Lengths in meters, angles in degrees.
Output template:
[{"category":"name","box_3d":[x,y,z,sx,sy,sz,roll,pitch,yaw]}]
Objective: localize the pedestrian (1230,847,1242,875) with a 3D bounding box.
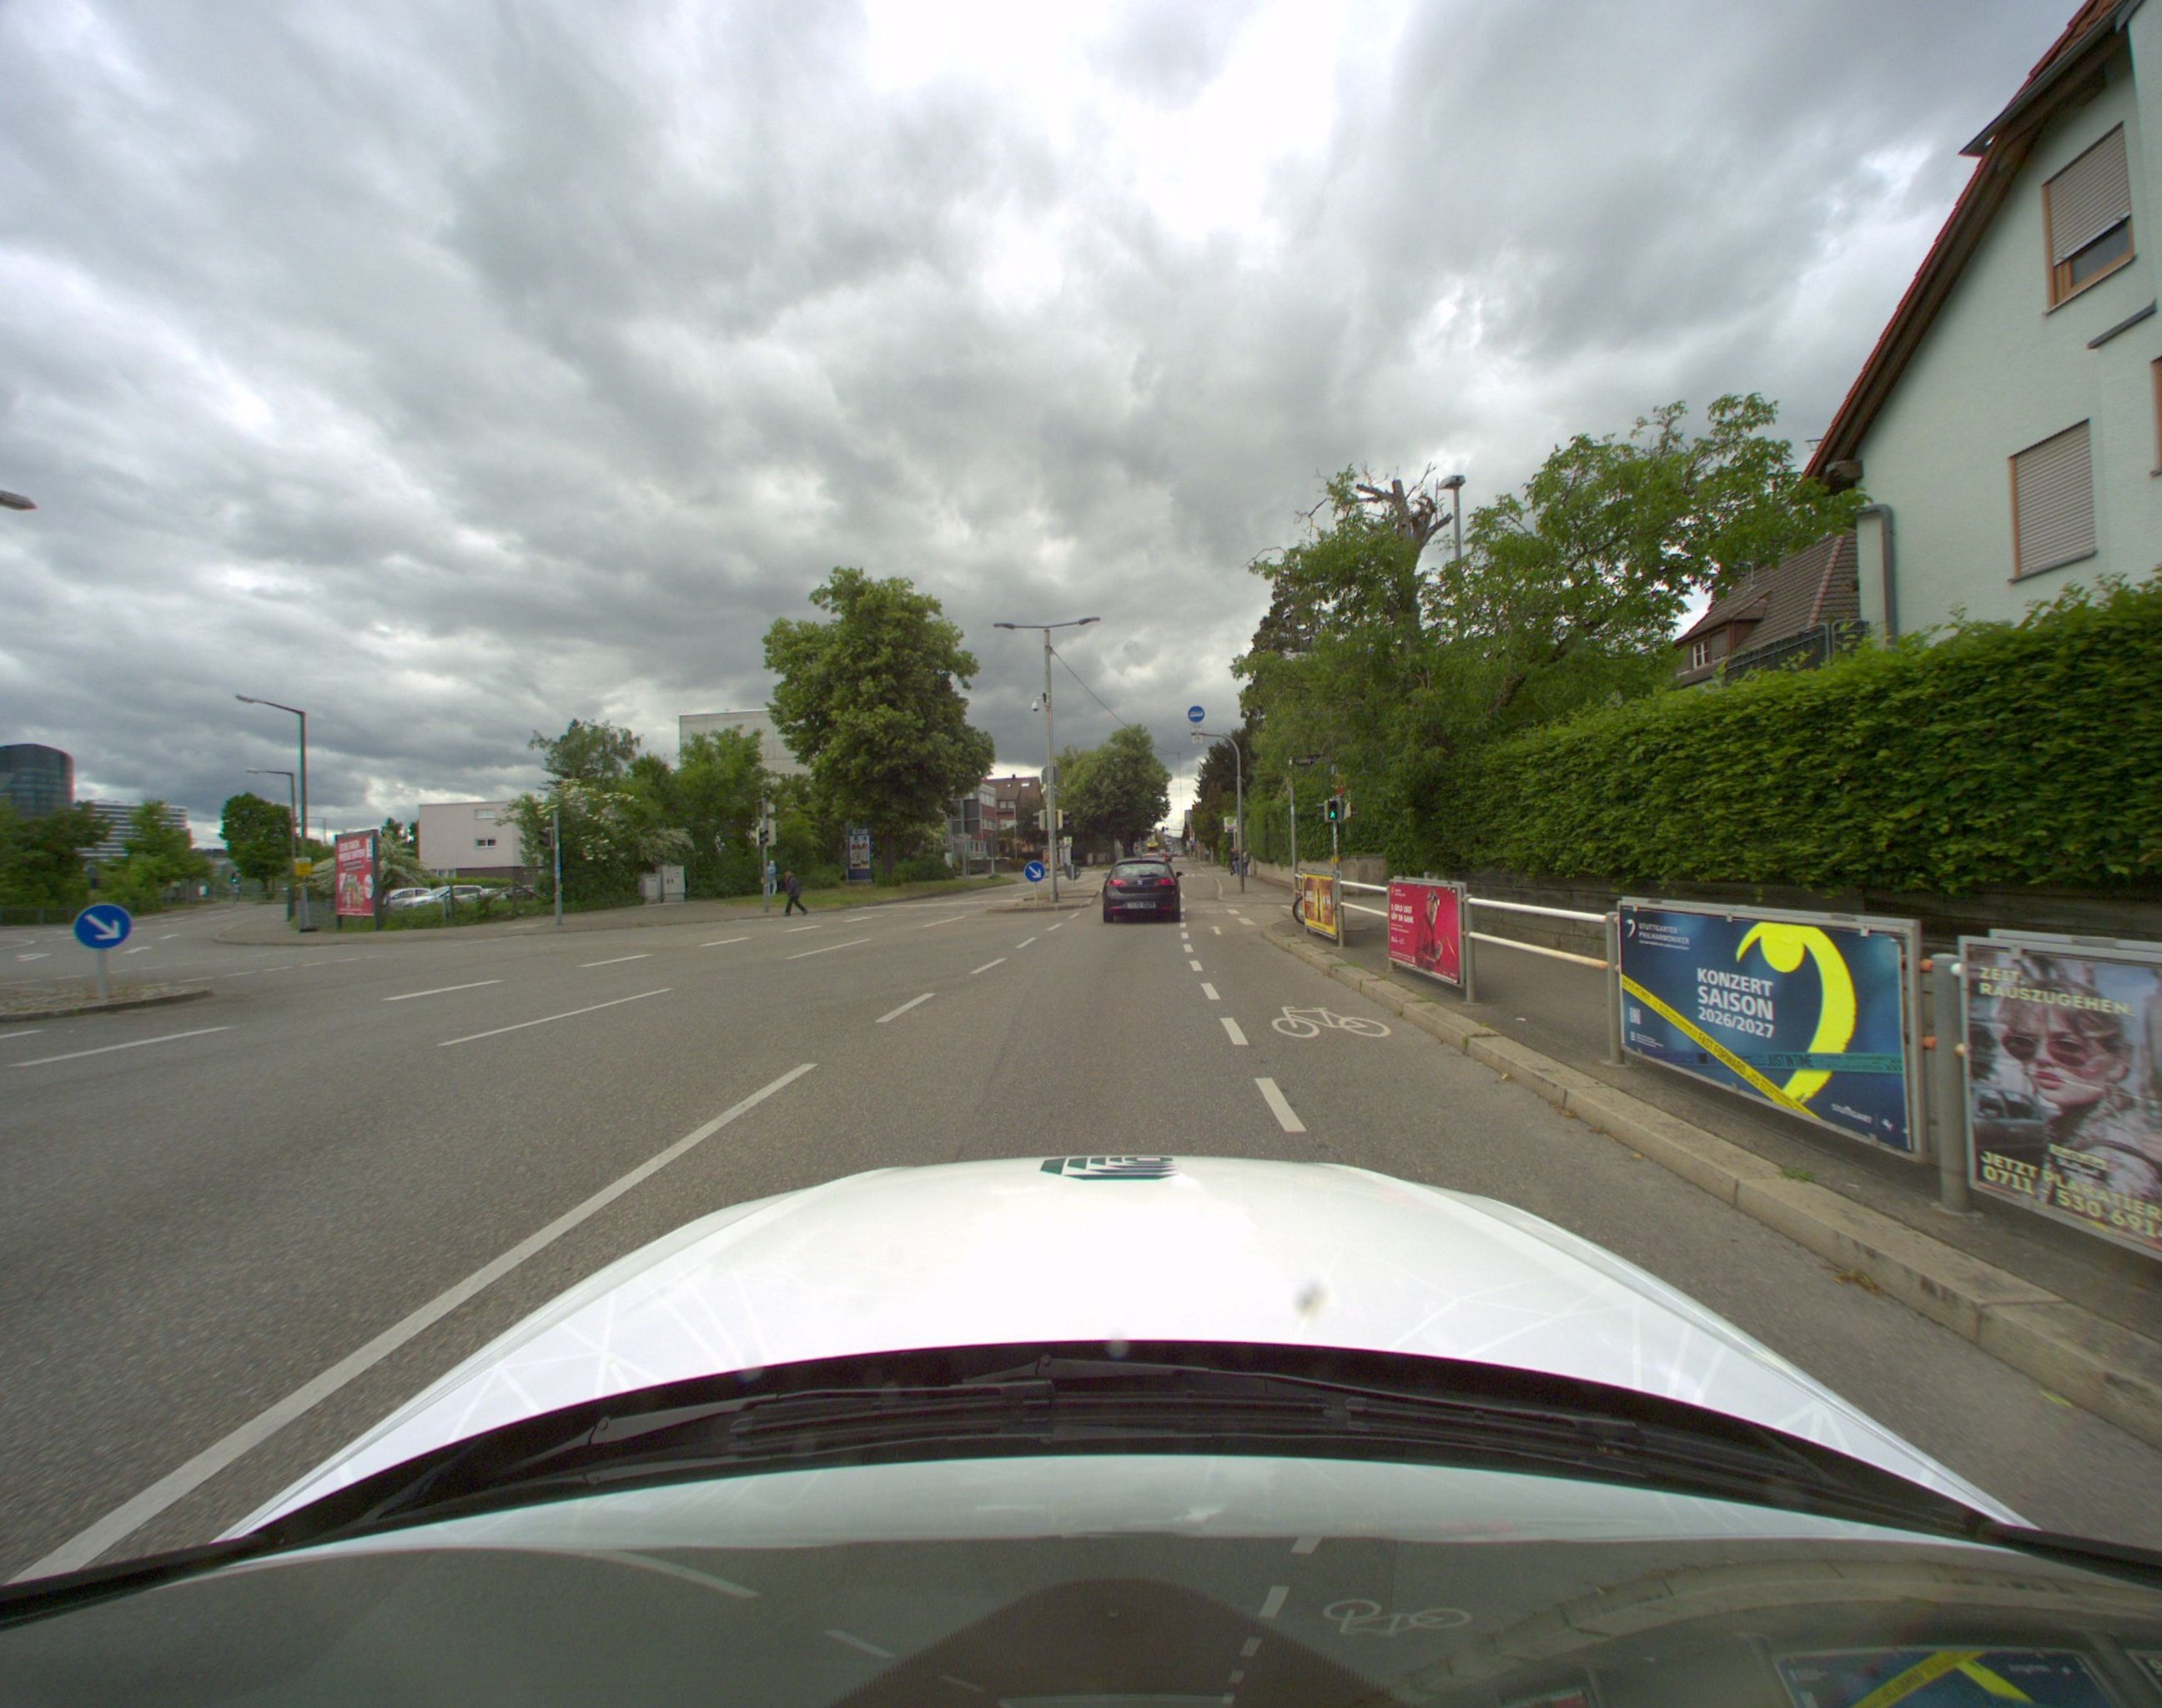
[{"category":"pedestrian","box_3d":[8.895,0.409,46.691,0.545,1.517,0.363,-5,0,15]}]

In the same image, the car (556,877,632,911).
[{"category":"car","box_3d":[-32.072,2.607,53.762,1.979,2.013,4.016,0,0,15]}]

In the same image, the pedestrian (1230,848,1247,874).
[{"category":"pedestrian","box_3d":[9.385,0.428,48.453,0.777,1.500,0.605,-4,0,0]}]

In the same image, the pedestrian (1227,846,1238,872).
[{"category":"pedestrian","box_3d":[10.161,0.349,54.675,0.583,1.711,0.530,-4,-1,5]}]

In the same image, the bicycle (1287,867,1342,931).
[{"category":"bicycle","box_3d":[4.151,0.774,14.586,0.625,1.028,1.506,-2,0,4]}]

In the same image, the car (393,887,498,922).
[{"category":"car","box_3d":[-33.765,2.662,43.380,1.781,1.554,4.021,-3,0,21]}]

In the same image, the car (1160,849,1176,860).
[{"category":"car","box_3d":[13.734,0.024,128.153,1.980,1.684,4.013,-2,0,12]}]

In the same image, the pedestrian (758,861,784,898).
[{"category":"pedestrian","box_3d":[-13.191,1.083,34.636,0.652,1.522,0.924,-2,0,3]}]

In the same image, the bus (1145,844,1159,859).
[{"category":"bus","box_3d":[15.133,-0.511,173.741,2.854,3.136,6.407,-2,0,5]}]

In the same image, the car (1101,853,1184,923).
[{"category":"car","box_3d":[1.410,0.723,19.169,1.752,1.448,3.717,0,0,3]}]

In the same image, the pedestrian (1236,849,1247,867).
[{"category":"pedestrian","box_3d":[9.237,0.231,46.828,0.452,0.964,0.383,-6,0,0]}]

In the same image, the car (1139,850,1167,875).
[{"category":"car","box_3d":[5.420,0.598,61.142,1.809,1.699,4.262,-3,0,7]}]

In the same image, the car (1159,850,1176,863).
[{"category":"car","box_3d":[10.992,0.306,103.271,1.933,1.481,4.258,-3,0,4]}]

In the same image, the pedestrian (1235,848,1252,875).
[{"category":"pedestrian","box_3d":[8.992,0.420,45.068,0.613,1.427,0.516,-6,0,44]}]

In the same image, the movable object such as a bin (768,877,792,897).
[{"category":"movable object such as a bin","box_3d":[-13.123,1.439,35.518,0.652,0.798,0.898,-2,0,3]}]

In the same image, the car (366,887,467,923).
[{"category":"car","box_3d":[-37.443,2.824,46.029,1.781,1.718,4.021,-3,0,21]}]

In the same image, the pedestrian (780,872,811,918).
[{"category":"pedestrian","box_3d":[-9.210,1.304,26.257,0.772,1.407,0.599,-2,0,-7]}]

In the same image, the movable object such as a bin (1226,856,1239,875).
[{"category":"movable object such as a bin","box_3d":[8.853,0.682,47.557,0.436,1.058,0.572,-6,0,32]}]

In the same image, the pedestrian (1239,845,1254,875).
[{"category":"pedestrian","box_3d":[8.872,0.329,43.618,0.542,1.555,0.471,-6,0,-3]}]
